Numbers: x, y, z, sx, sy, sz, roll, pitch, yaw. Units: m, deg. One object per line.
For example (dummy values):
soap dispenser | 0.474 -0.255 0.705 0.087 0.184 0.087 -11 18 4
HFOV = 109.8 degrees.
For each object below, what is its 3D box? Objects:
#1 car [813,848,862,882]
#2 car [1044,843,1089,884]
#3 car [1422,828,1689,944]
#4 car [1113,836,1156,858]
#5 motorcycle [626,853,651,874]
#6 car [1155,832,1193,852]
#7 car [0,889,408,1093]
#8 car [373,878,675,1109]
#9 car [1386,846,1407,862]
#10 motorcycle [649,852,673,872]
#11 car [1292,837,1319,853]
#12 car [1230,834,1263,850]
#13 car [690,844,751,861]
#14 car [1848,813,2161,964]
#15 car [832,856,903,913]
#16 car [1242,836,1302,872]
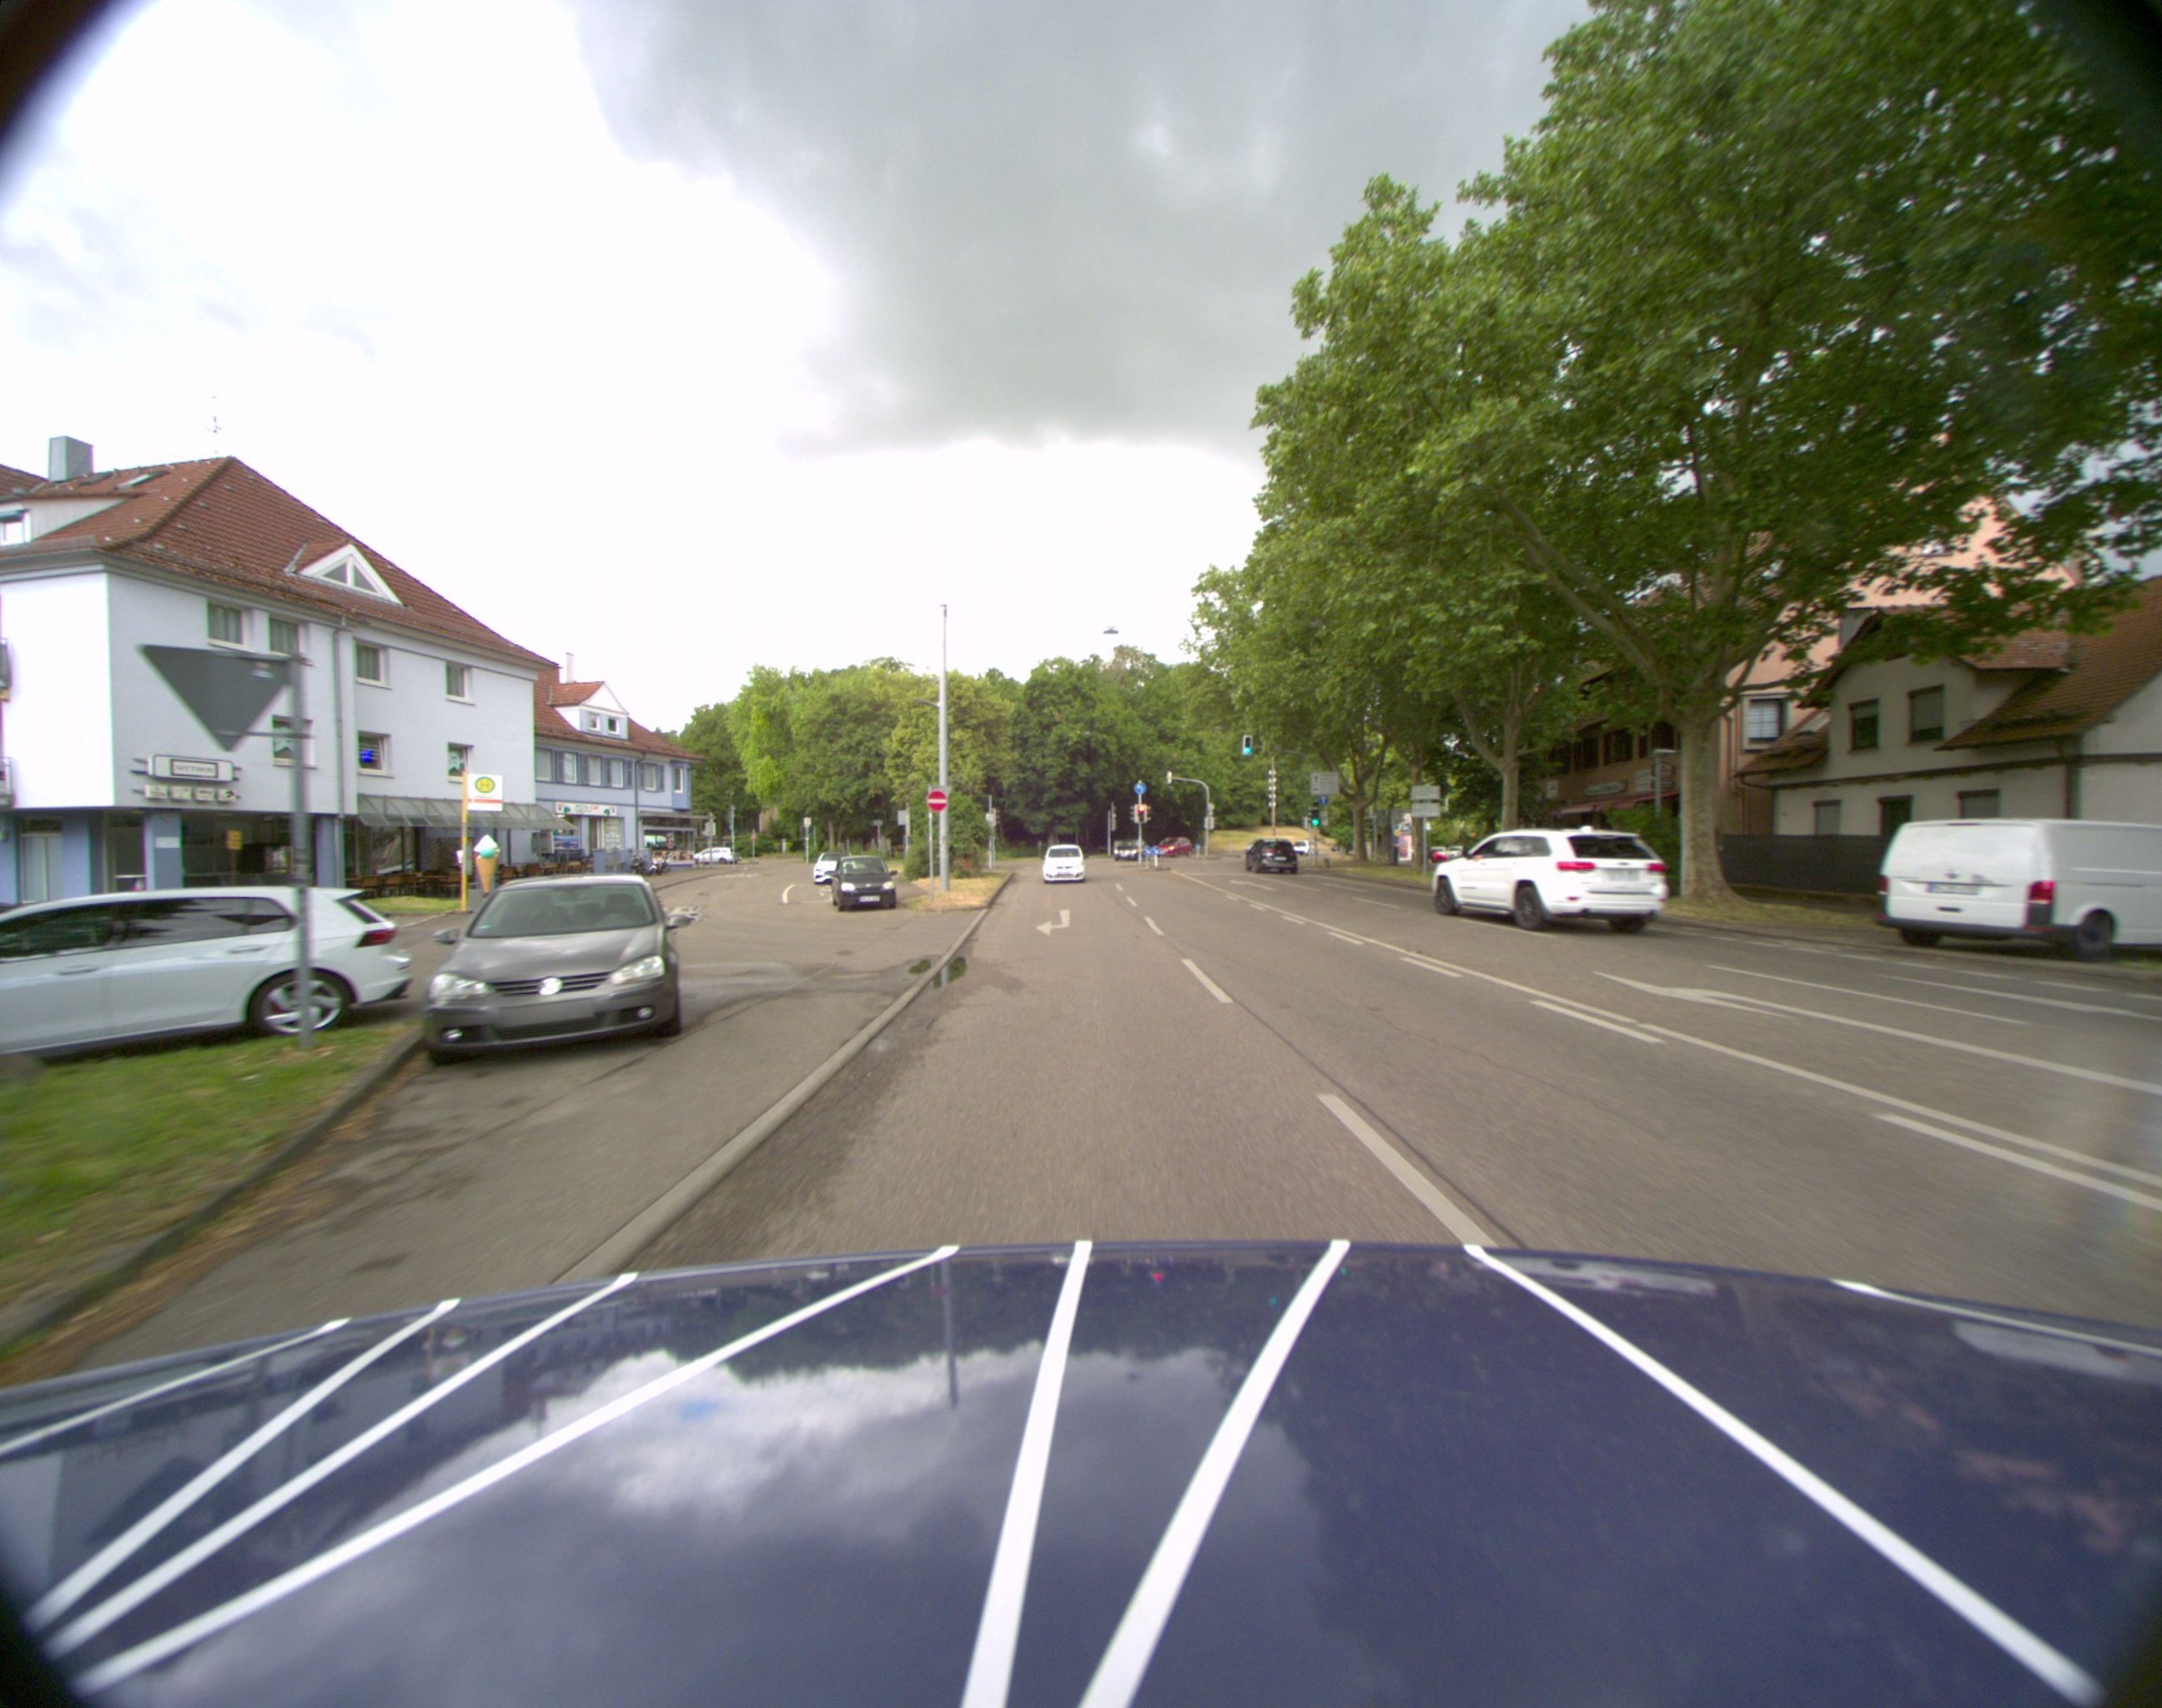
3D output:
car | -11.304 0.452 35.275 2.002 1.379 4.779 -1 2 -18
car | -0.646 0.331 31.365 1.628 1.500 3.997 0 2 -4
car | 8.401 0.484 14.118 1.916 1.753 4.751 1 0 -1
car | 3.929 -0.555 55.139 1.727 1.512 4.006 1 2 26
motorcycle | -22.122 0.464 38.006 0.490 1.025 1.723 -1 2 -10
car | 8.009 -1.062 65.011 1.671 1.632 4.108 1 2 31
car | -8.725 1.139 6.581 4.270 1.373 1.759 -2 1 -42
car | -4.962 0.998 7.273 1.736 1.420 4.103 -1 0 -30
car | 26.013 -0.015 62.791 1.480 1.303 3.404 2 1 21
motorcycle | -22.432 0.432 40.629 0.522 0.980 1.821 -1 2 -10
car | 22.668 -0.917 76.611 1.763 1.458 4.028 2 2 28
car | 17.227 -1.272 78.901 1.779 1.560 4.008 2 3 39
car | -31.638 -0.143 66.662 4.538 1.448 1.901 0 2 11
car | 14.566 0.475 11.193 5.245 1.920 2.081 1 1 -13
car | -6.073 0.797 21.399 1.575 1.396 3.488 -1 1 -21
car | 9.041 -0.021 36.330 1.801 1.578 4.415 2 1 2
